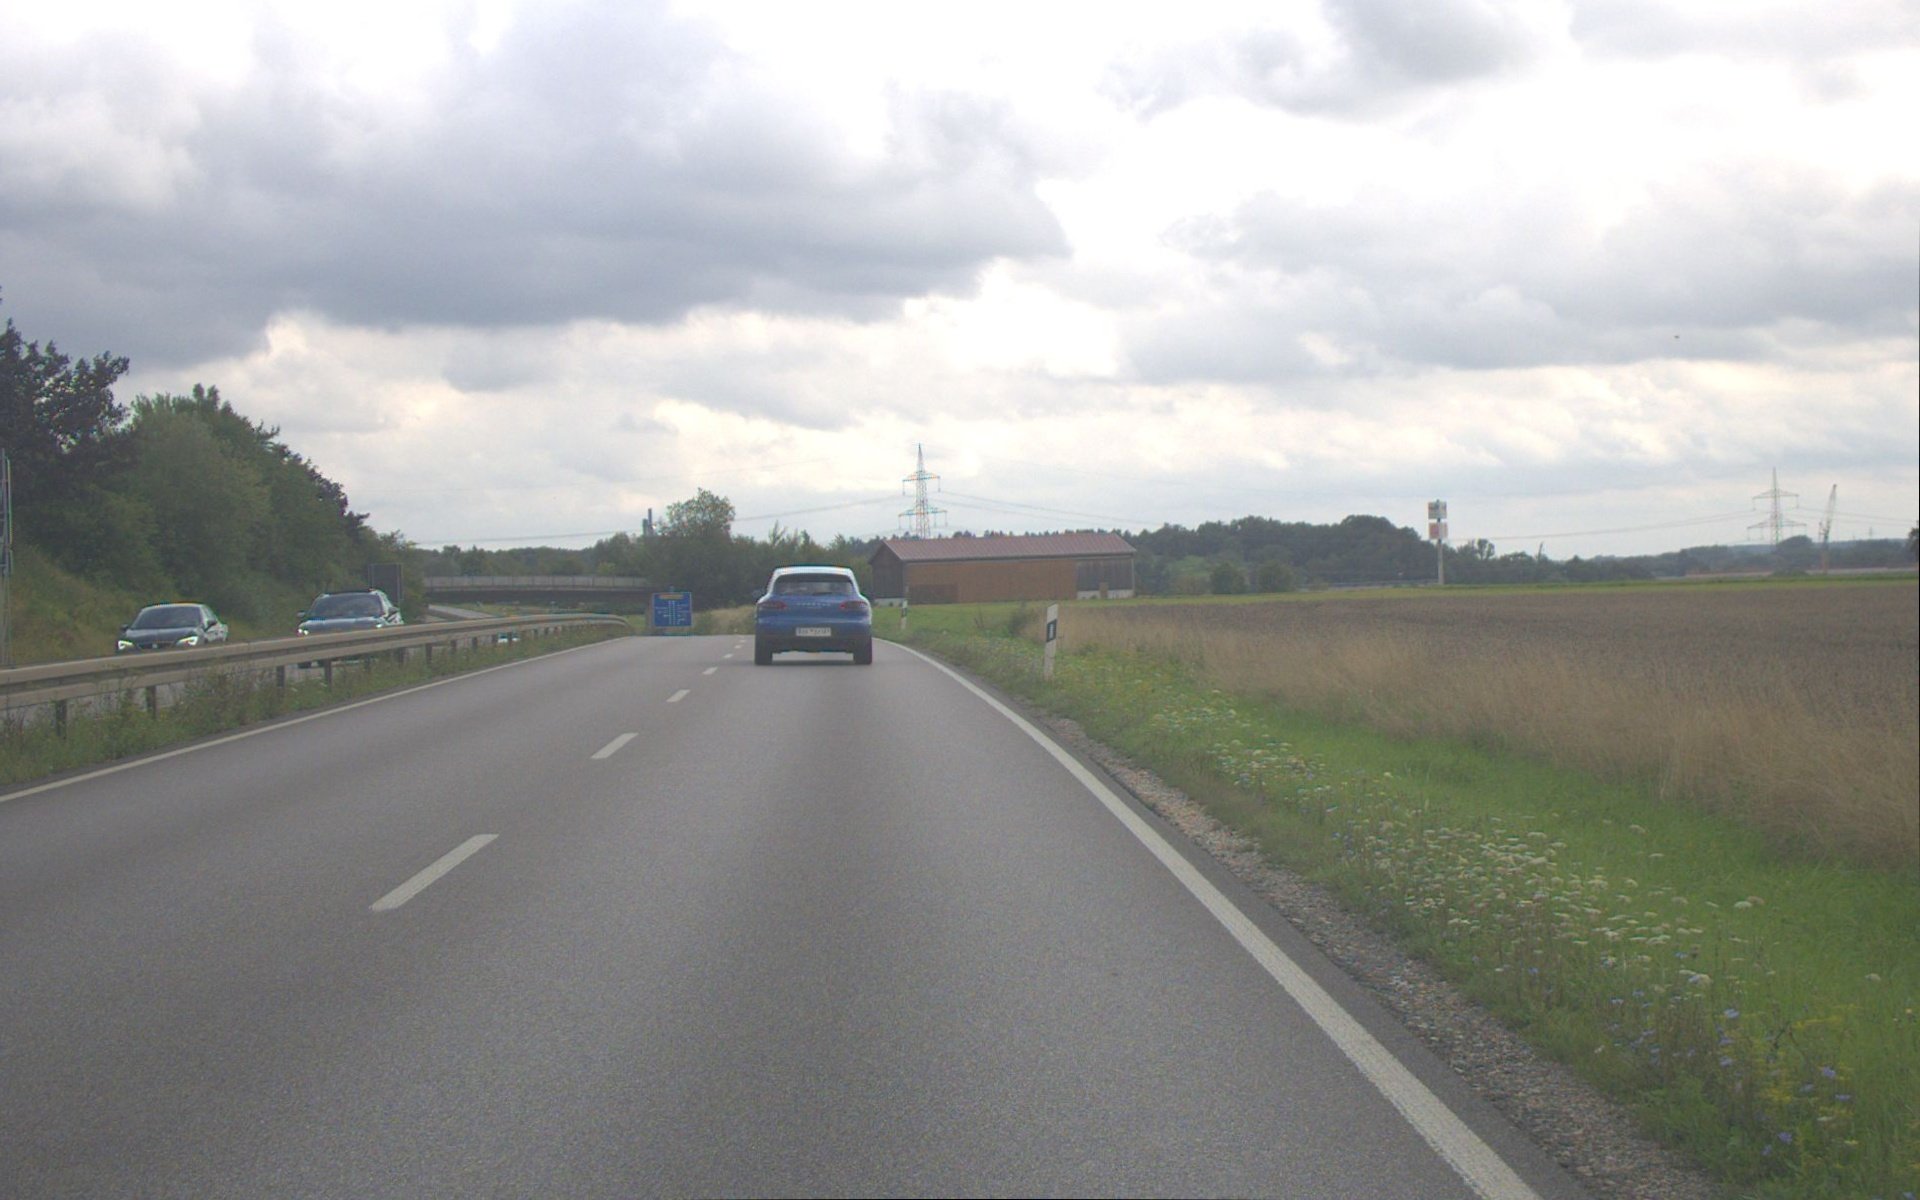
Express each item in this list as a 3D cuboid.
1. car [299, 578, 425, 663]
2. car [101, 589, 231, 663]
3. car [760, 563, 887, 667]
[{"bbox_3d":[-11.674,0.370,67.342,1.754,1.481,4.577,-2,1,-2],"label":"car"},{"bbox_3d":[-16.050,0.502,69.695,1.691,1.319,4.417,-2,1,-2],"label":"car"},{"bbox_3d":[-2.263,0.218,57.550,2.033,1.655,4.544,0,1,-2],"label":"car"}]
